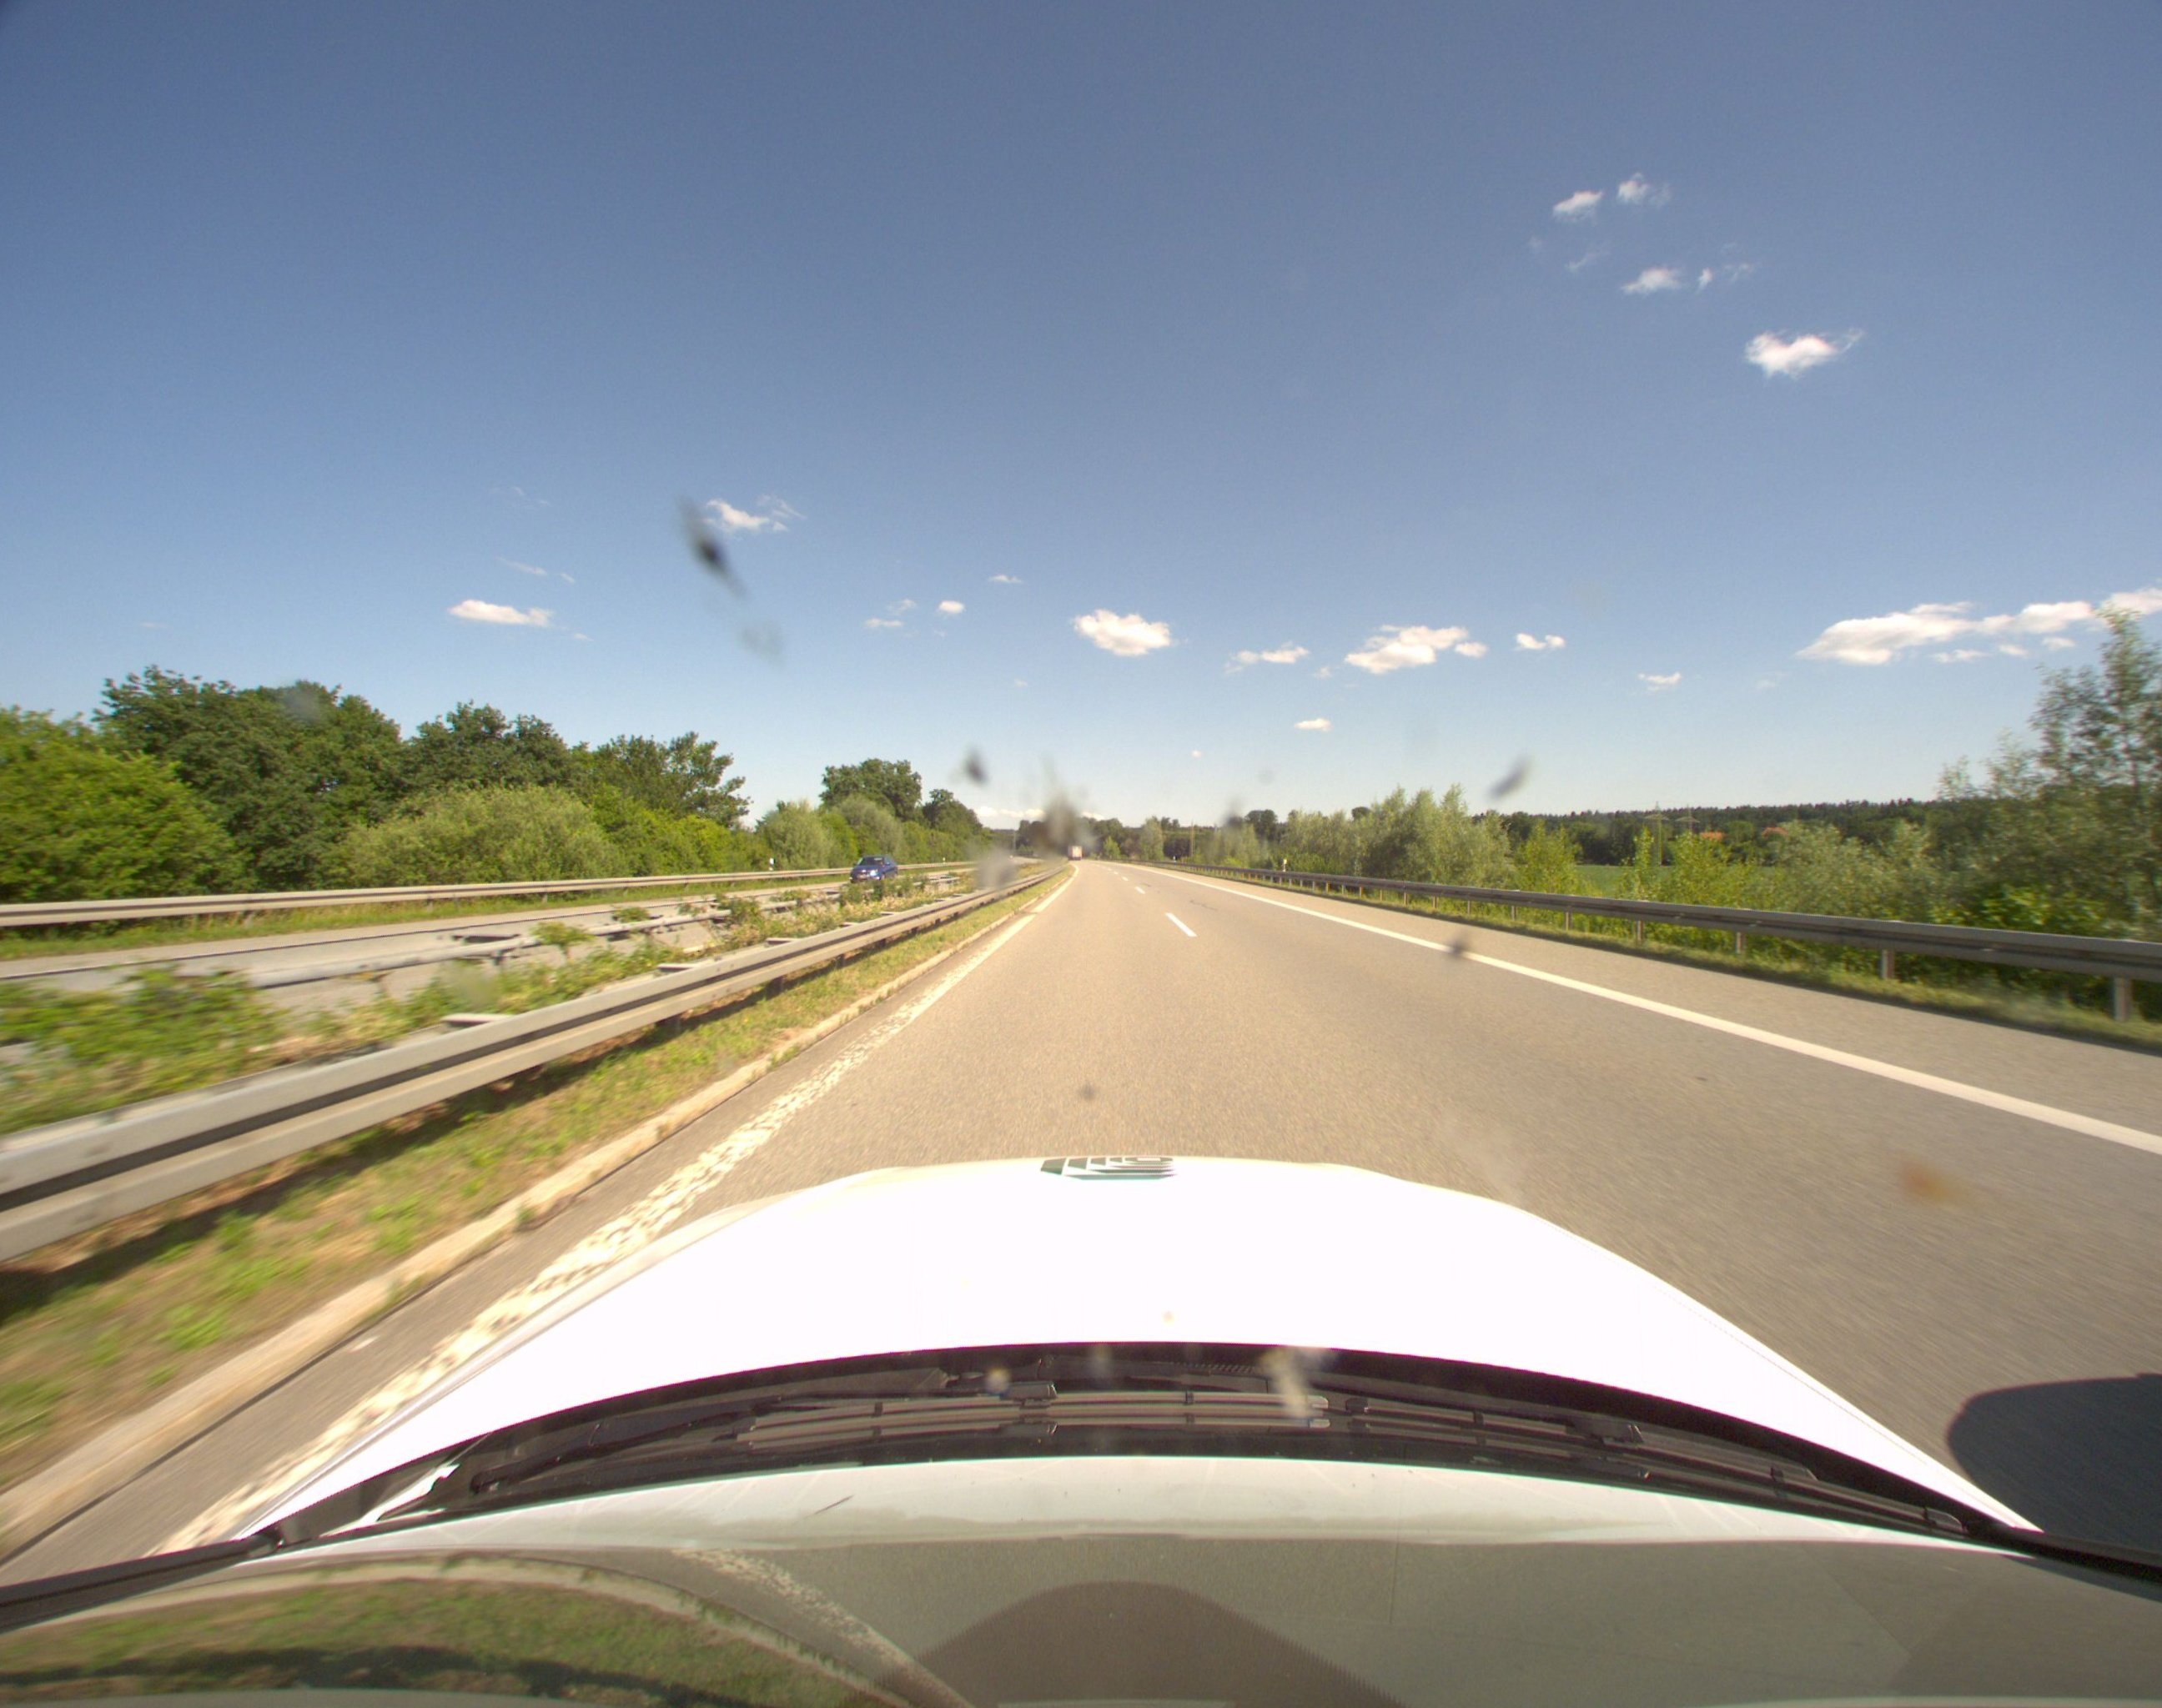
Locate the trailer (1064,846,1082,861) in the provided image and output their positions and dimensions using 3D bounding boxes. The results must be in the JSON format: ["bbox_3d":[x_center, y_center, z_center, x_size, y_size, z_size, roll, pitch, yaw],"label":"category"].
[{"bbox_3d":[-2.333,-0.111,229.215,2.885,4.066,12.376,-1,0,-10],"label":"trailer"}]

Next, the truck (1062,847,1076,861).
[{"bbox_3d":[-3.436,-0.095,235.291,2.831,4.012,6.563,-1,0,-10],"label":"truck"}]

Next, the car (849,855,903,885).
[{"bbox_3d":[-10.499,0.803,41.963,1.670,1.441,4.000,-1,0,0],"label":"car"}]
